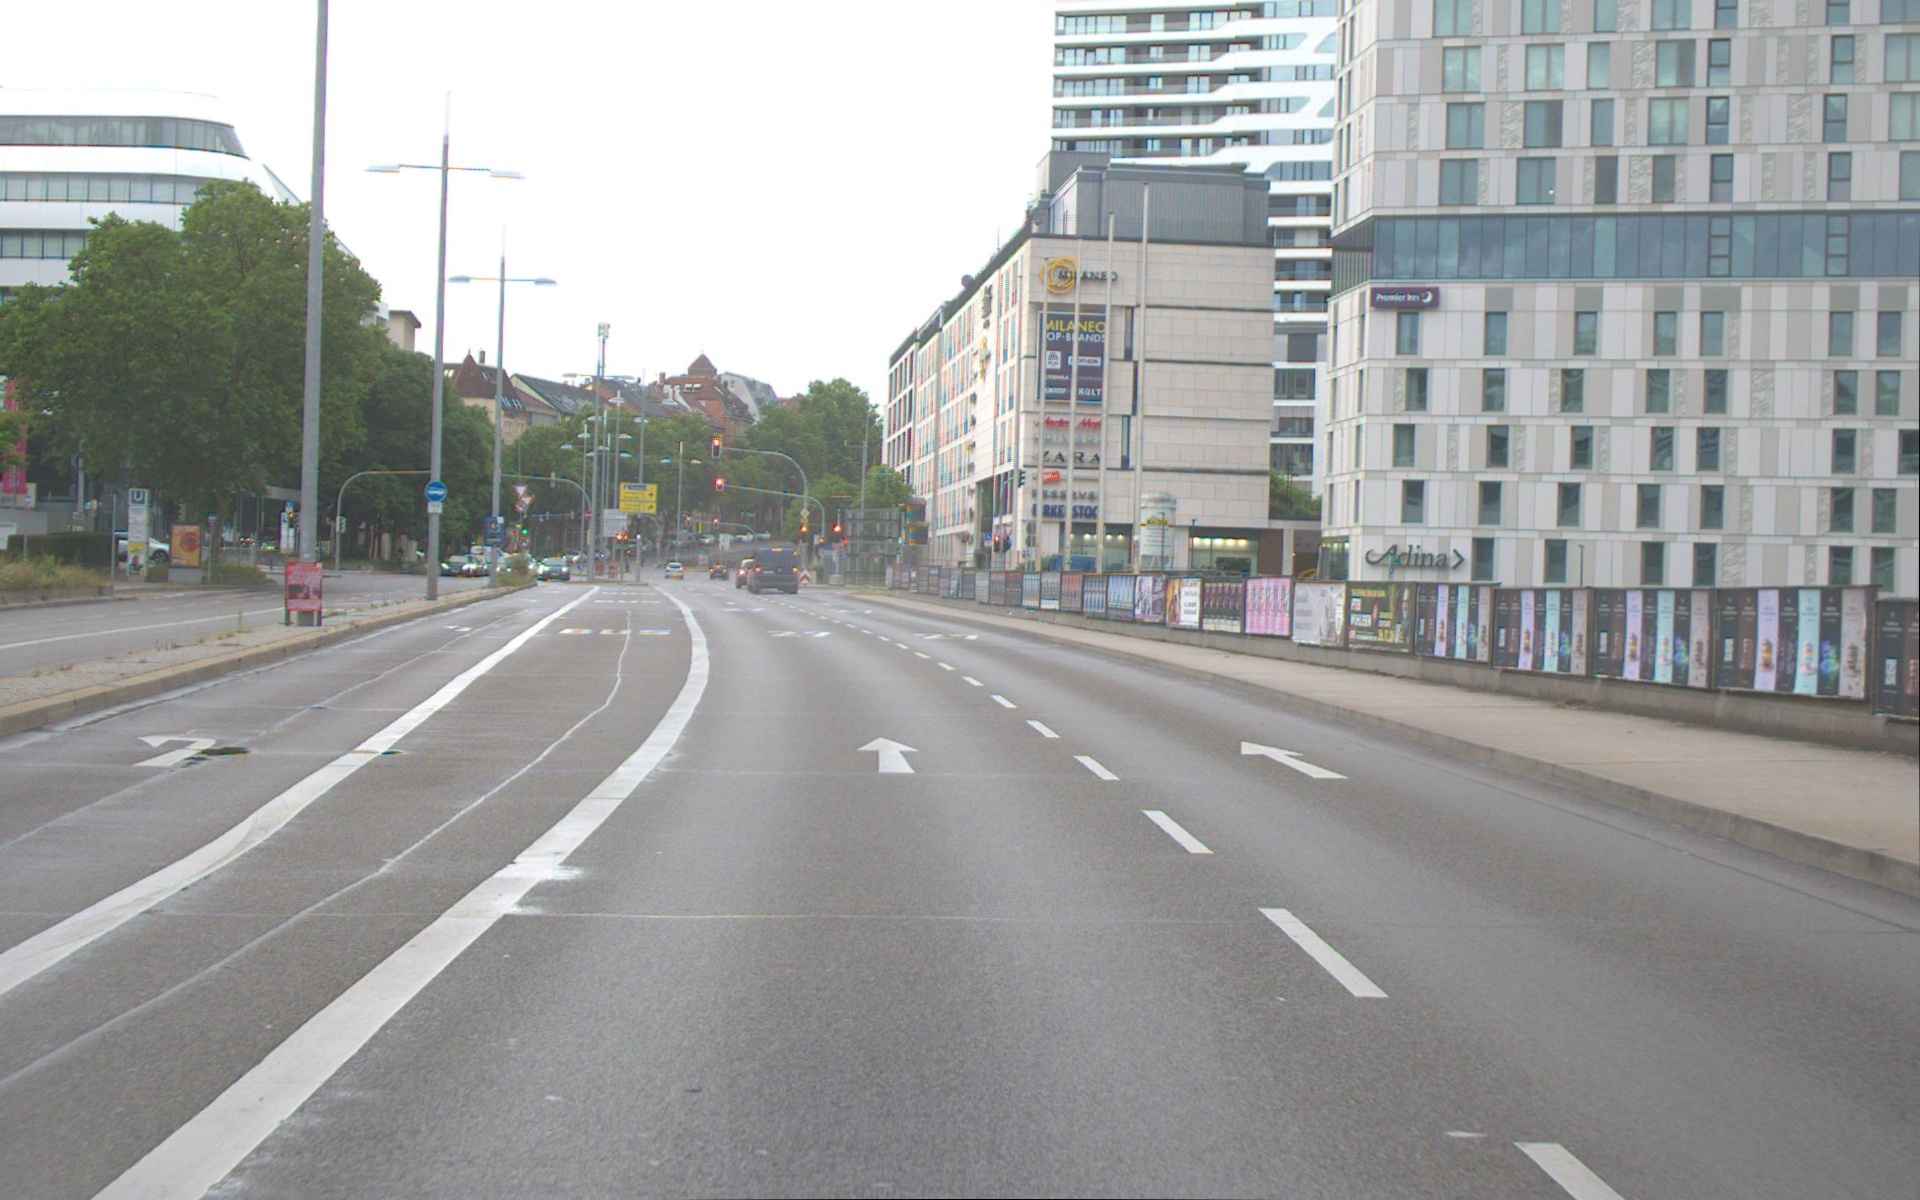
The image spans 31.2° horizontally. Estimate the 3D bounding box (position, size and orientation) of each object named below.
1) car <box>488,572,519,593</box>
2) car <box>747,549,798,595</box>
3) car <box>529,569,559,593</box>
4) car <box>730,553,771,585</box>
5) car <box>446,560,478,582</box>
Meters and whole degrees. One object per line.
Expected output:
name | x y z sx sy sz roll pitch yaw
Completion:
car | -29.213 -1.107 220.109 1.743 1.253 3.540 2 1 -5
car | -8.175 -1.246 149.853 2.032 1.875 5.043 -2 1 -5
car | -26.529 -1.204 219.364 1.743 1.440 3.395 1 -1 -5
car | -10.637 -1.564 174.742 1.739 1.526 3.815 1 -1 -8
car | -31.798 -1.840 219.583 1.743 1.324 4.226 1 -1 -5
